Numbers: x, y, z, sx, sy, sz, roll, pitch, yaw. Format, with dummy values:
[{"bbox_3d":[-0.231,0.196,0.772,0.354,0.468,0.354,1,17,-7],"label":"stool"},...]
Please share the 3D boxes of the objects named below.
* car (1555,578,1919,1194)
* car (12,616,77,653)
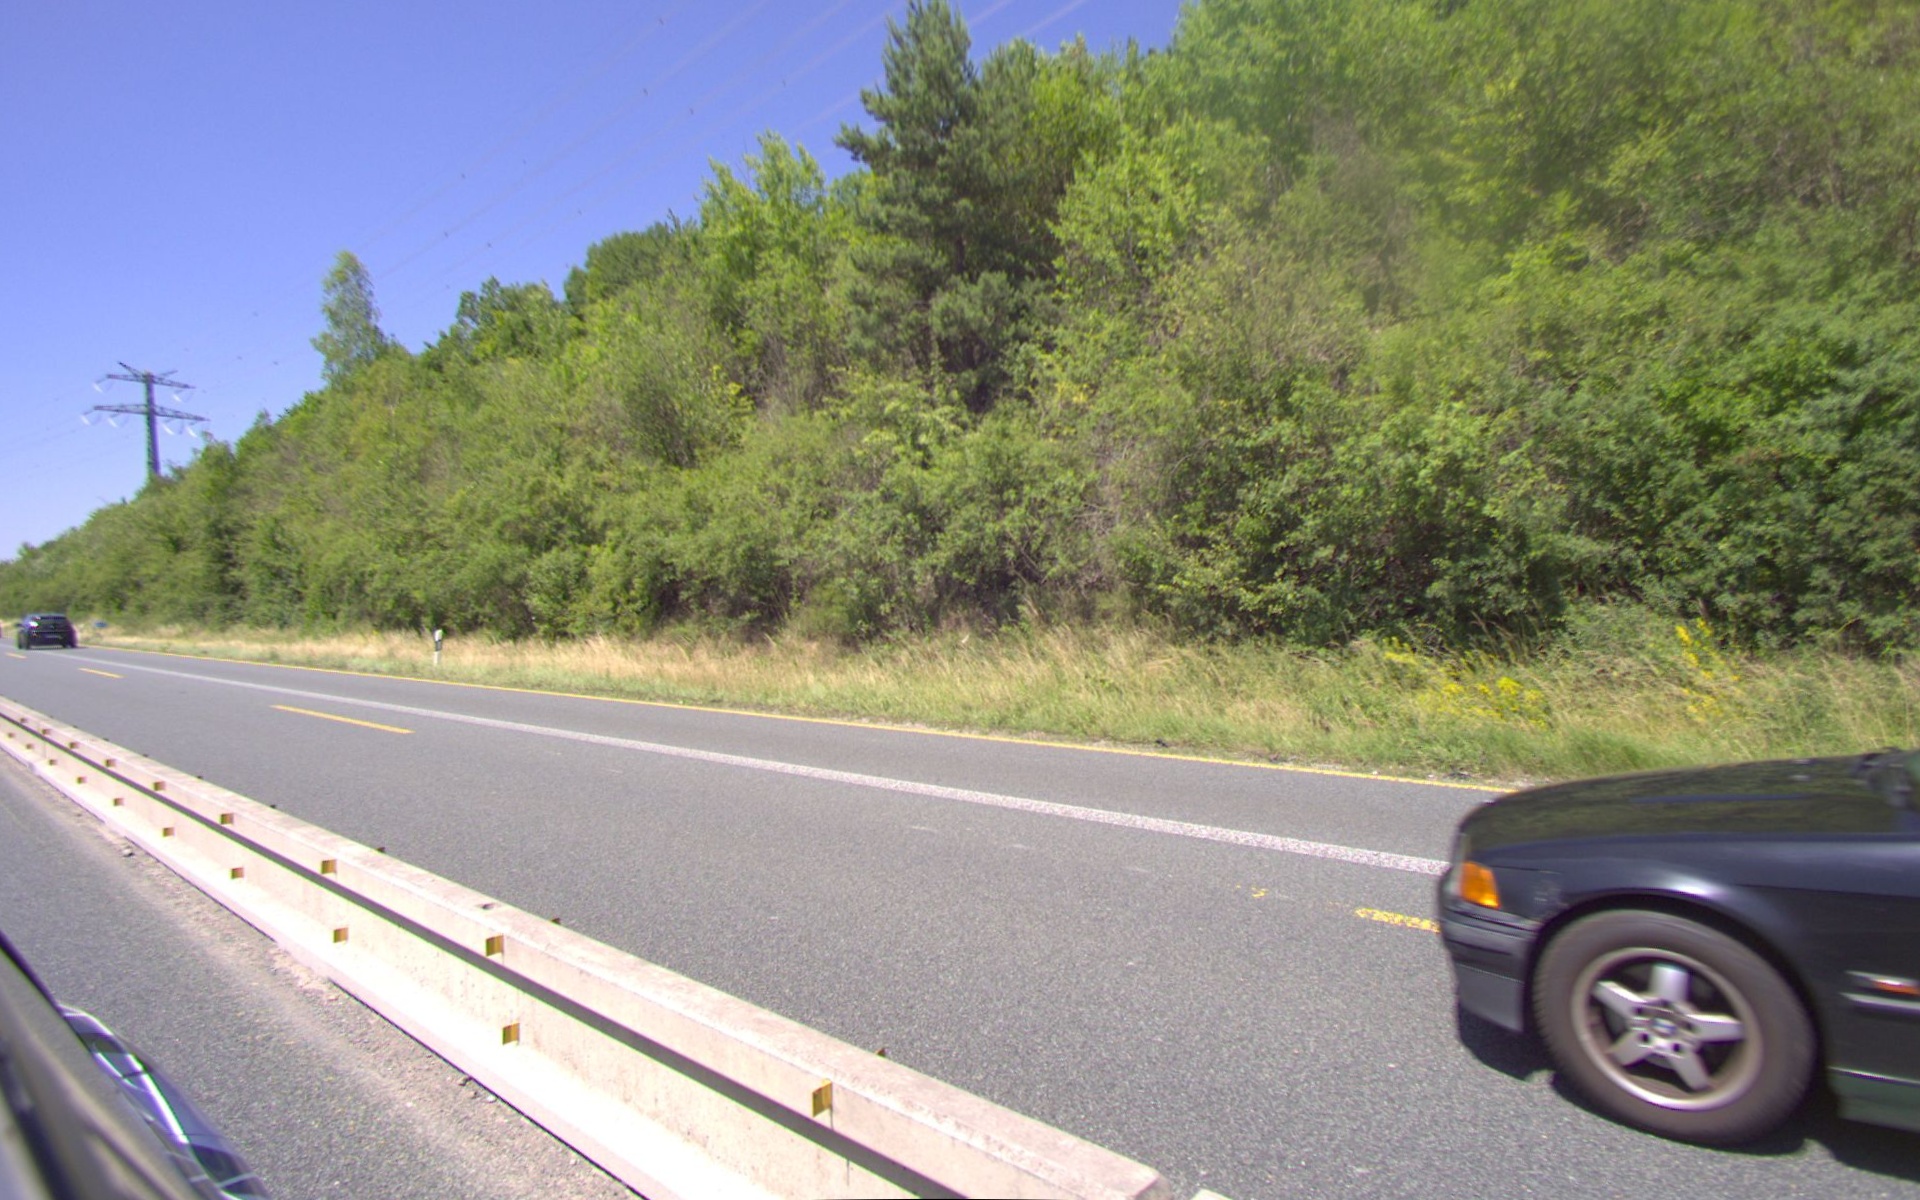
[{"bbox_3d":[3.711,0.631,2.073,4.069,1.404,1.656,-1,0,41],"label":"car"},{"bbox_3d":[-41.512,1.534,45.863,4.068,1.588,1.759,-1,0,42],"label":"car"}]
